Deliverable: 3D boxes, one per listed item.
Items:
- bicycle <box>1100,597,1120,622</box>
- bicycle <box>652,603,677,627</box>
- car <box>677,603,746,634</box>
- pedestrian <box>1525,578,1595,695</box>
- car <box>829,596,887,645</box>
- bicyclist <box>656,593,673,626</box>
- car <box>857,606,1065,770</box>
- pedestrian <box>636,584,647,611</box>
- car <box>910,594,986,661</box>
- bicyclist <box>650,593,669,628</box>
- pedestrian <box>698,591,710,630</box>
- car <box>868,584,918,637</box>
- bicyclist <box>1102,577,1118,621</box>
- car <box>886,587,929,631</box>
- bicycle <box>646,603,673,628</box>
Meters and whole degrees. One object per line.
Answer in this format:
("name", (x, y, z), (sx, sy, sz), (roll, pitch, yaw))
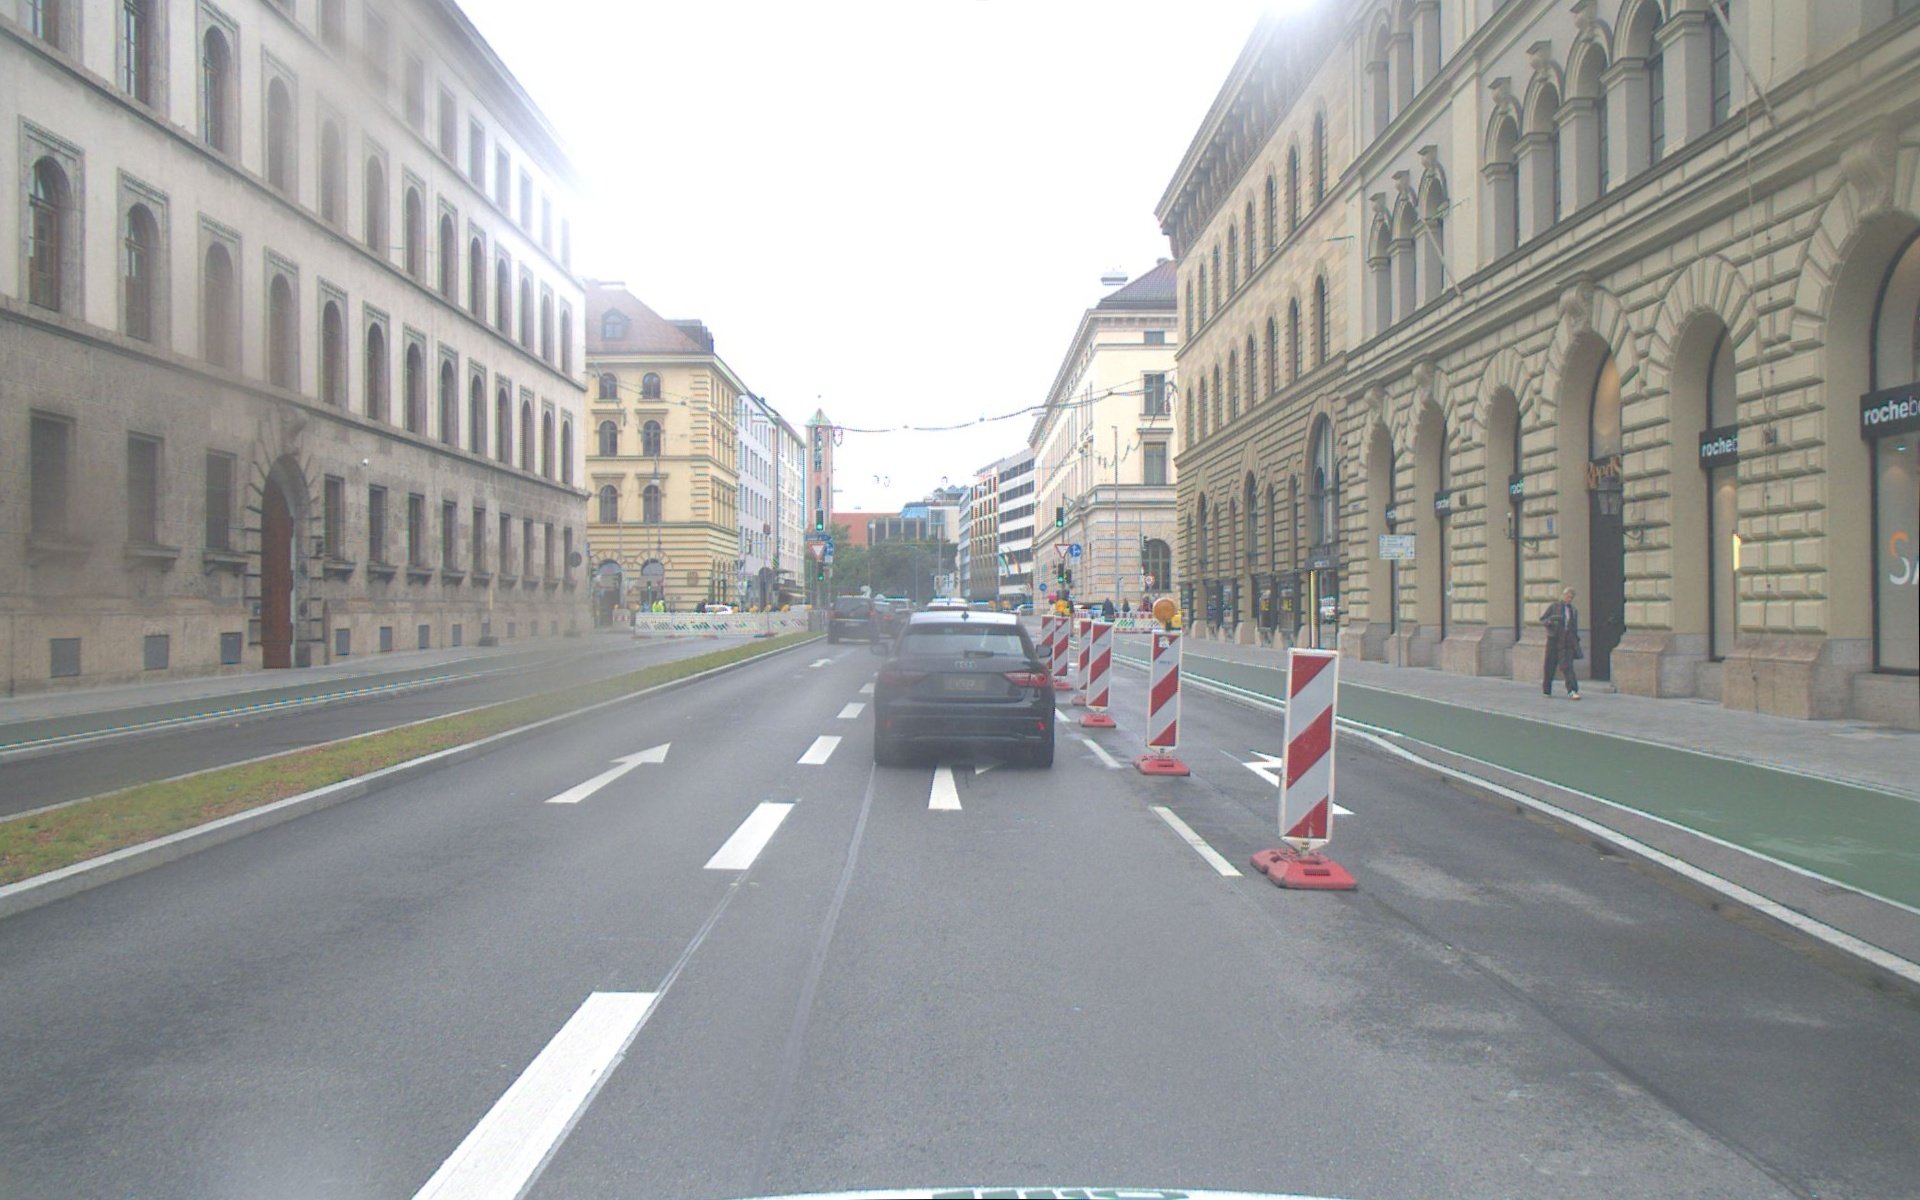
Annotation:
("bicycle", (6.507, 0.407, 71.805), (0.573, 1.029, 1.654), (1, 0, -6))
("bicycle", (-15.980, 0.809, 89.488), (0.770, 1.264, 2.200), (1, 0, 4))
("car", (-14.991, 1.106, 99.658), (3.711, 1.830, 1.844), (0, 0, -36))
("pedestrian", (9.126, 0.543, 25.183), (0.619, 1.734, 1.085), (-1, 0, -1))
("car", (-3.509, 0.673, 57.457), (1.827, 1.629, 3.850), (0, 0, -1))
("bicyclist", (-15.979, 0.509, 89.481), (0.781, 1.807, 0.689), (1, 0, 3))
("car", (-0.020, 0.789, 16.634), (1.825, 1.412, 3.999), (1, 0, -1))
("pedestrian", (-20.953, -0.161, 108.783), (0.720, 1.803, 0.737), (1, 0, -11))
("car", (-0.366, 0.684, 43.399), (1.734, 1.645, 3.997), (1, 0, -4))
("bicyclist", (-15.366, 0.534, 84.684), (0.781, 1.779, 0.689), (1, 0, 3))
("pedestrian", (-11.618, 0.472, 74.964), (0.503, 1.773, 1.041), (0, 0, -10))
("car", (-2.676, 0.413, 66.901), (1.953, 2.049, 3.999), (0, 0, -1))
("bicyclist", (6.512, -0.025, 71.791), (0.555, 1.886, 0.798), (1, 0, -6))
("car", (-2.527, 0.411, 80.408), (1.953, 2.049, 3.999), (-1, 0, -1))
("bicycle", (-15.377, 0.799, 84.623), (0.770, 1.264, 2.450), (1, 0, 4))
